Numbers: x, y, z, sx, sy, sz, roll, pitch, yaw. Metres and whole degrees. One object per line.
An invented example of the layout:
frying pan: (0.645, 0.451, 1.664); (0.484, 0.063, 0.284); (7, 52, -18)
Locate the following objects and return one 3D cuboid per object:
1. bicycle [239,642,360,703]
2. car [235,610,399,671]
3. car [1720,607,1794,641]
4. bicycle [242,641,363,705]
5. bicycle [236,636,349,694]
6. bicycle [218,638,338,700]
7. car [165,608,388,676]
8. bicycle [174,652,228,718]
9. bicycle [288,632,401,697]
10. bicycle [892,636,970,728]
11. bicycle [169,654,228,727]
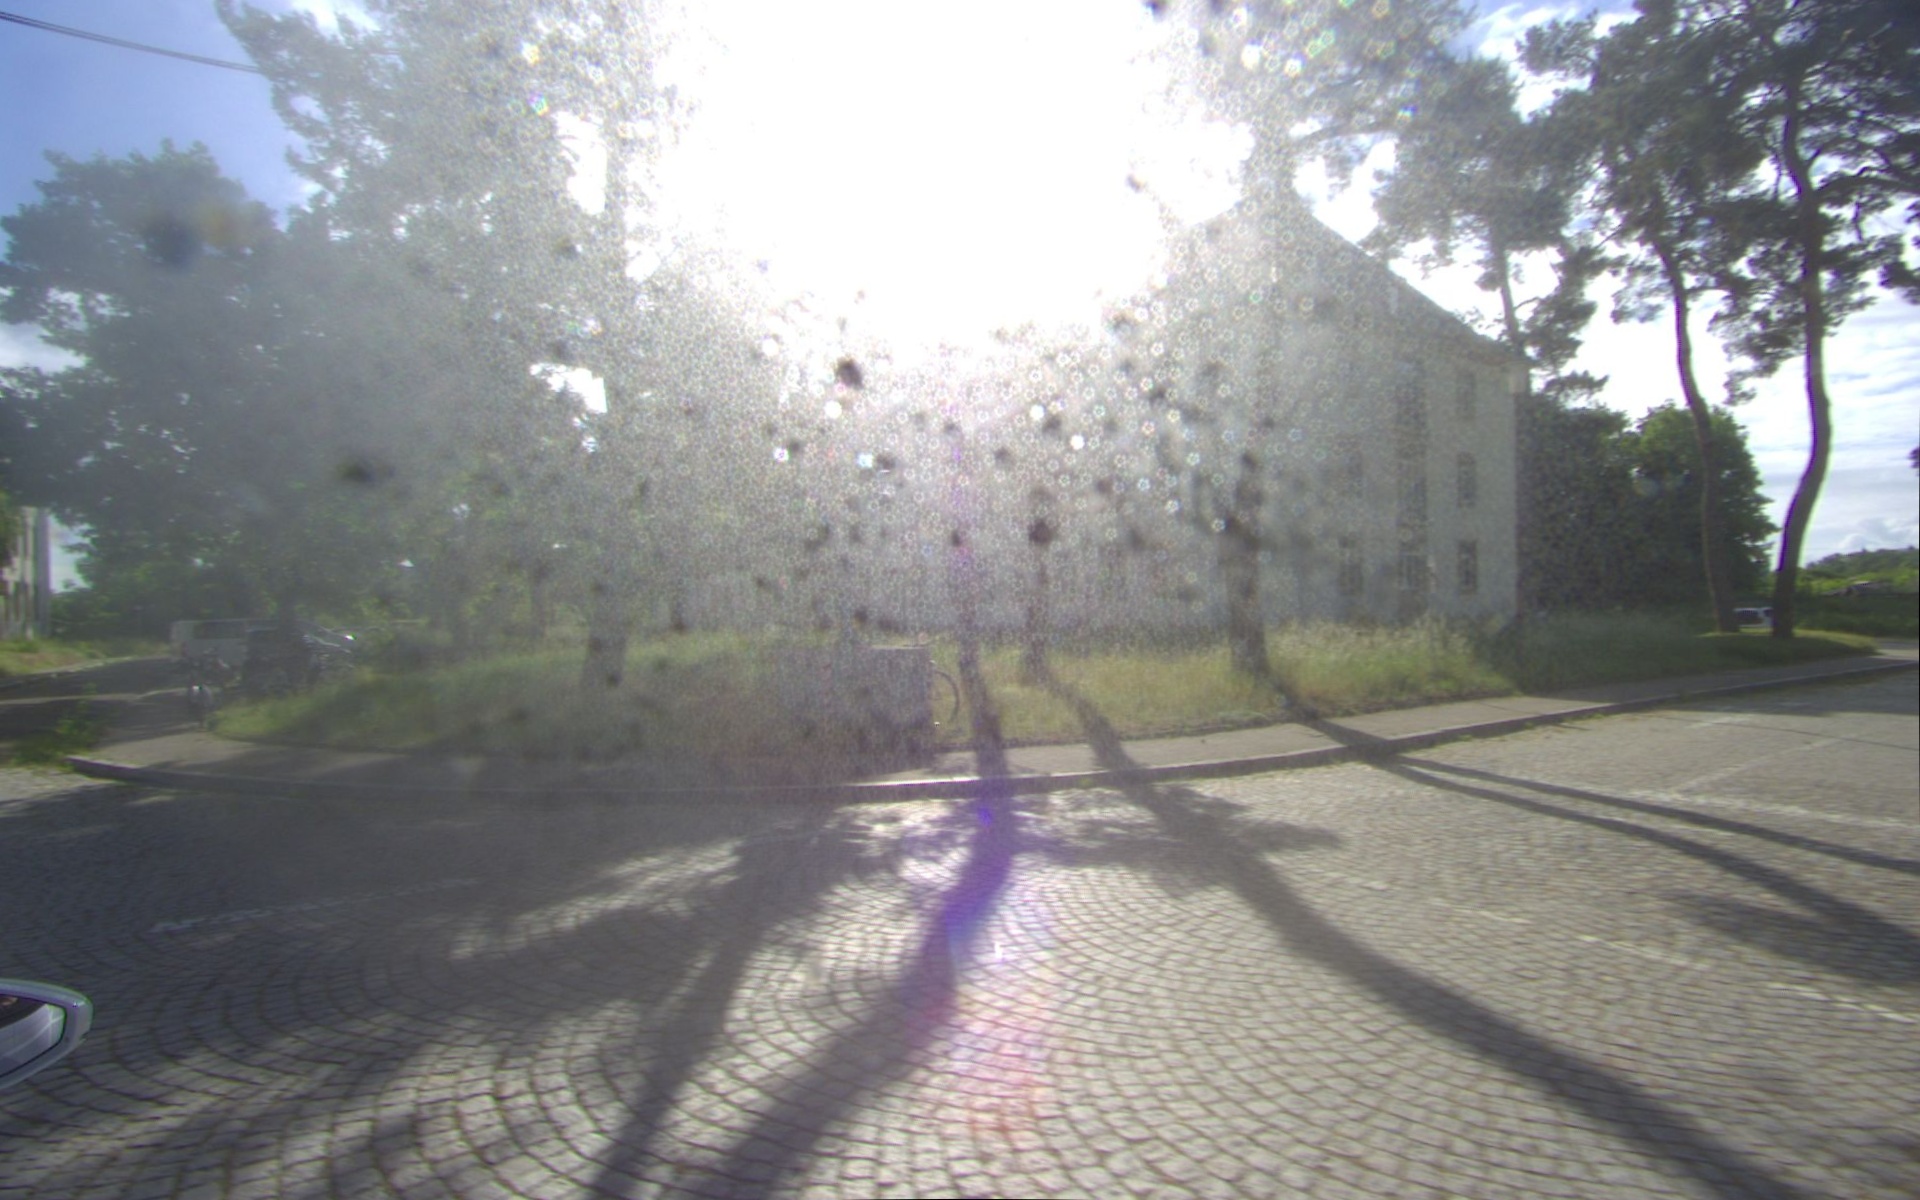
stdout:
bicycle: (-12.404, 1.336, 18.825); (1.838, 1.044, 0.744); (0, -1, -38)
car: (-19.528, 1.176, 30.518); (3.959, 1.706, 1.830); (0, -1, -43)
car: (36.707, 1.069, 46.066); (3.953, 1.483, 1.833); (0, -1, -38)
bicycle: (-12.800, 1.396, 19.519); (1.924, 1.144, 0.744); (0, 0, -38)
bicycle: (-14.203, 1.352, 21.338); (1.926, 1.144, 0.642); (0, 0, -41)
bicycle: (-13.772, 1.374, 20.292); (0.638, 1.144, 1.939); (-1, -1, 28)
car: (-22.756, 1.323, 33.504); (5.888, 2.040, 2.453); (0, -1, -42)
bicycle: (-12.689, 1.393, 16.753); (0.689, 0.984, 1.847); (0, -1, -37)
bicycle: (-12.584, 1.297, 20.518); (1.924, 1.251, 0.481); (0, 0, -38)
bicycle: (-0.380, 1.003, 12.582); (0.461, 1.094, 1.167); (-1, -1, -31)
bicycle: (-11.542, 1.339, 15.202); (0.689, 0.984, 1.847); (0, -1, -37)
